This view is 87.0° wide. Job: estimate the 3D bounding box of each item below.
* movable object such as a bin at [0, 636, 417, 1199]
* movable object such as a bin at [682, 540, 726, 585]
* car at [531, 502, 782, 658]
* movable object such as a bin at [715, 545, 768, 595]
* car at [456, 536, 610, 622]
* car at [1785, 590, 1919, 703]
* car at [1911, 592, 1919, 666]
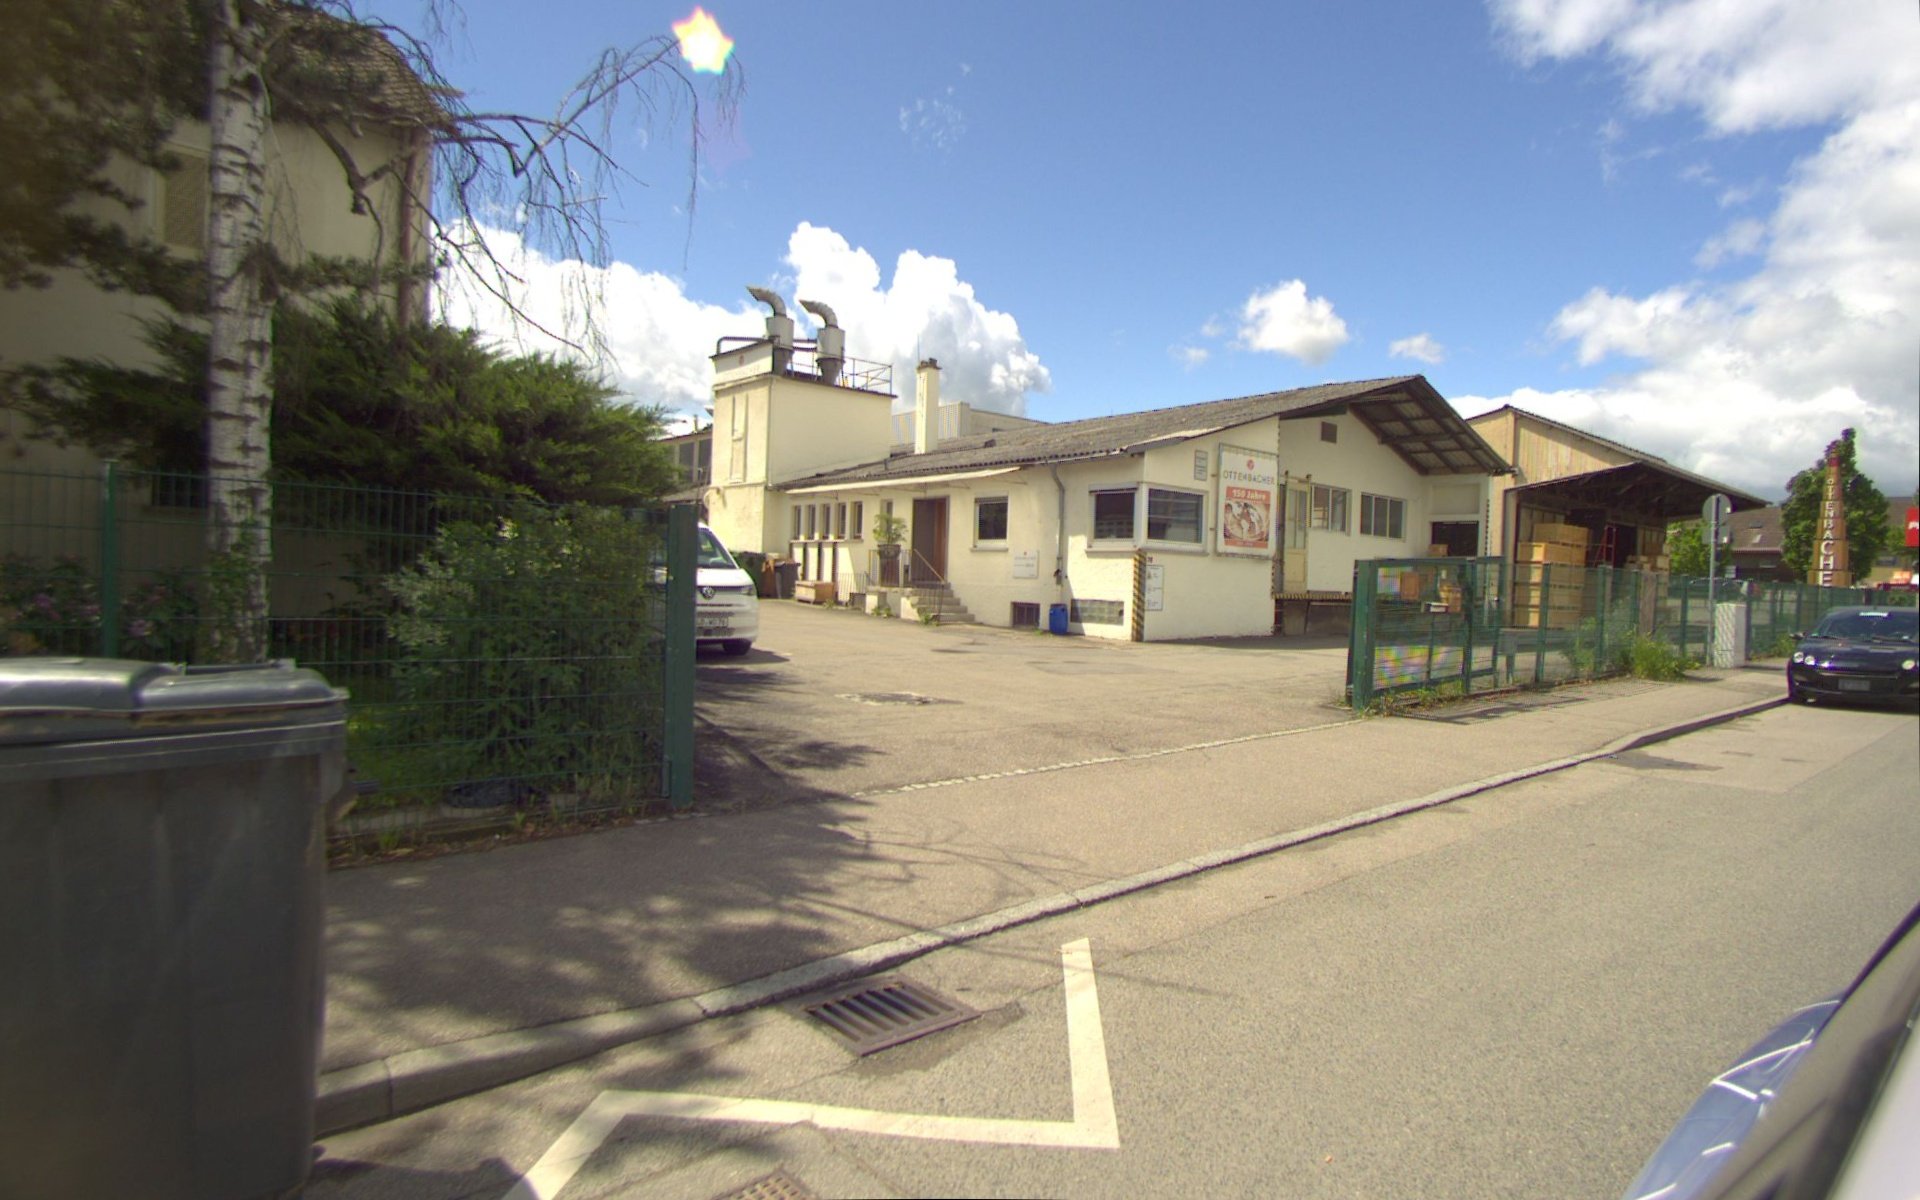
[{"bbox_3d":[-1.969,0.784,2.105,1.332,1.307,1.117,0,2,-36],"label":"movable object such as a bin"},{"bbox_3d":[-7.988,-1.182,31.569,0.915,1.338,1.009,0,4,-43],"label":"movable object such as a bin"},{"bbox_3d":[-4.655,-0.353,14.932,1.962,1.910,4.927,1,2,-36],"label":"car"},{"bbox_3d":[-6.364,-0.876,29.428,1.043,1.364,1.121,0,4,-43],"label":"movable object such as a bin"},{"bbox_3d":[-8.536,-0.477,20.054,1.648,1.522,4.030,0,3,-41],"label":"car"},{"bbox_3d":[13.868,0.616,15.116,3.930,1.482,1.758,0,1,-41],"label":"car"},{"bbox_3d":[22.785,0.625,22.584,4.114,1.595,1.810,0,0,-40],"label":"car"}]
